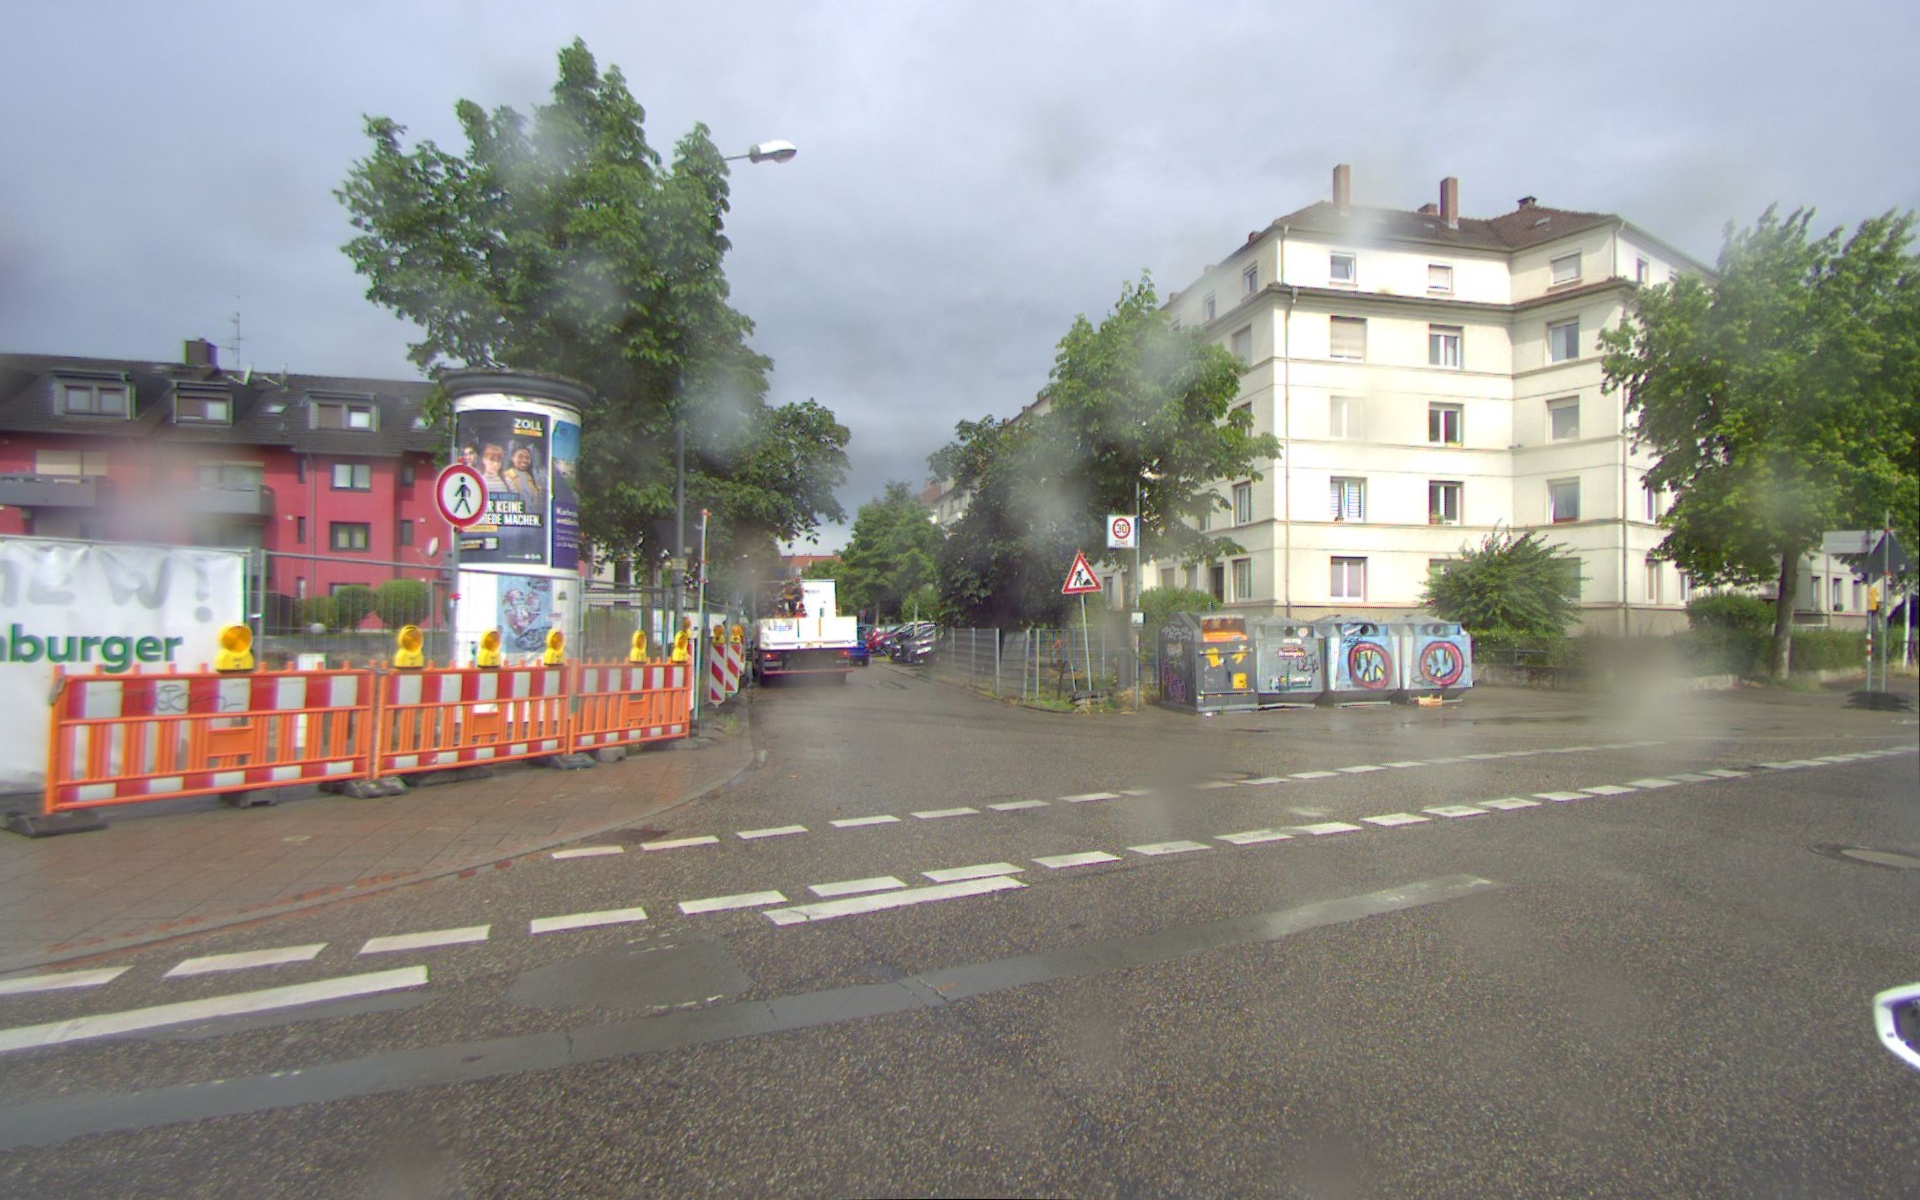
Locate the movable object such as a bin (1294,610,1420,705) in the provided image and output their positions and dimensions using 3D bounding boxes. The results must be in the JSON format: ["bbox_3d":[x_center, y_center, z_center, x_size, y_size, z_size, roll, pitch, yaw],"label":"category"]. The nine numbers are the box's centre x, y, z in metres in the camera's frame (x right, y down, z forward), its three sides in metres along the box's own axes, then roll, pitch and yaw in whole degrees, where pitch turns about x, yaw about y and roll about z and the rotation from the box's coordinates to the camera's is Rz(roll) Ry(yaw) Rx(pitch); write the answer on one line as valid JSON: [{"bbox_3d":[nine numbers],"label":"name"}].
[{"bbox_3d":[7.522,1.070,19.142,1.636,1.696,1.539,0,-2,-12],"label":"movable object such as a bin"}]

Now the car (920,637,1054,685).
[{"bbox_3d":[0.841,1.944,32.356,4.050,1.461,1.701,0,-2,-11],"label":"car"}]

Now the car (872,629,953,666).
[{"bbox_3d":[-2.332,2.323,49.191,3.764,1.732,1.817,0,-2,-10],"label":"car"}]

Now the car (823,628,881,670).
[{"bbox_3d":[-4.395,1.945,40.499,1.638,1.606,3.496,0,-2,-18],"label":"car"}]

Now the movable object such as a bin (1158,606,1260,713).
[{"bbox_3d":[4.508,1.055,18.299,1.241,1.848,1.539,0,-2,-12],"label":"movable object such as a bin"}]

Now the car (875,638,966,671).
[{"bbox_3d":[-1.864,2.533,47.033,4.050,1.461,1.701,0,-2,-11],"label":"car"}]

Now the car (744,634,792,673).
[{"bbox_3d":[-8.387,2.285,43.703,1.638,1.606,3.496,0,-2,-18],"label":"car"}]

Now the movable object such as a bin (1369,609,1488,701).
[{"bbox_3d":[9.051,1.040,19.497,1.433,1.684,1.539,0,-2,-12],"label":"movable object such as a bin"}]

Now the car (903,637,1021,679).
[{"bbox_3d":[0.055,2.098,36.644,4.050,1.461,1.701,0,-2,-11],"label":"car"}]

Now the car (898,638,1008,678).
[{"bbox_3d":[-0.311,2.255,39.134,4.050,1.461,1.701,0,-2,-11],"label":"car"}]

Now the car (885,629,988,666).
[{"bbox_3d":[-1.003,1.965,41.969,4.050,1.461,1.701,0,-2,-11],"label":"car"}]

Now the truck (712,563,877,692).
[{"bbox_3d":[-5.370,0.878,30.505,3.731,3.226,9.811,0,-2,-17],"label":"truck"}]

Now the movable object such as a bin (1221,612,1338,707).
[{"bbox_3d":[5.939,1.077,18.789,1.501,1.678,1.539,0,-2,-12],"label":"movable object such as a bin"}]
